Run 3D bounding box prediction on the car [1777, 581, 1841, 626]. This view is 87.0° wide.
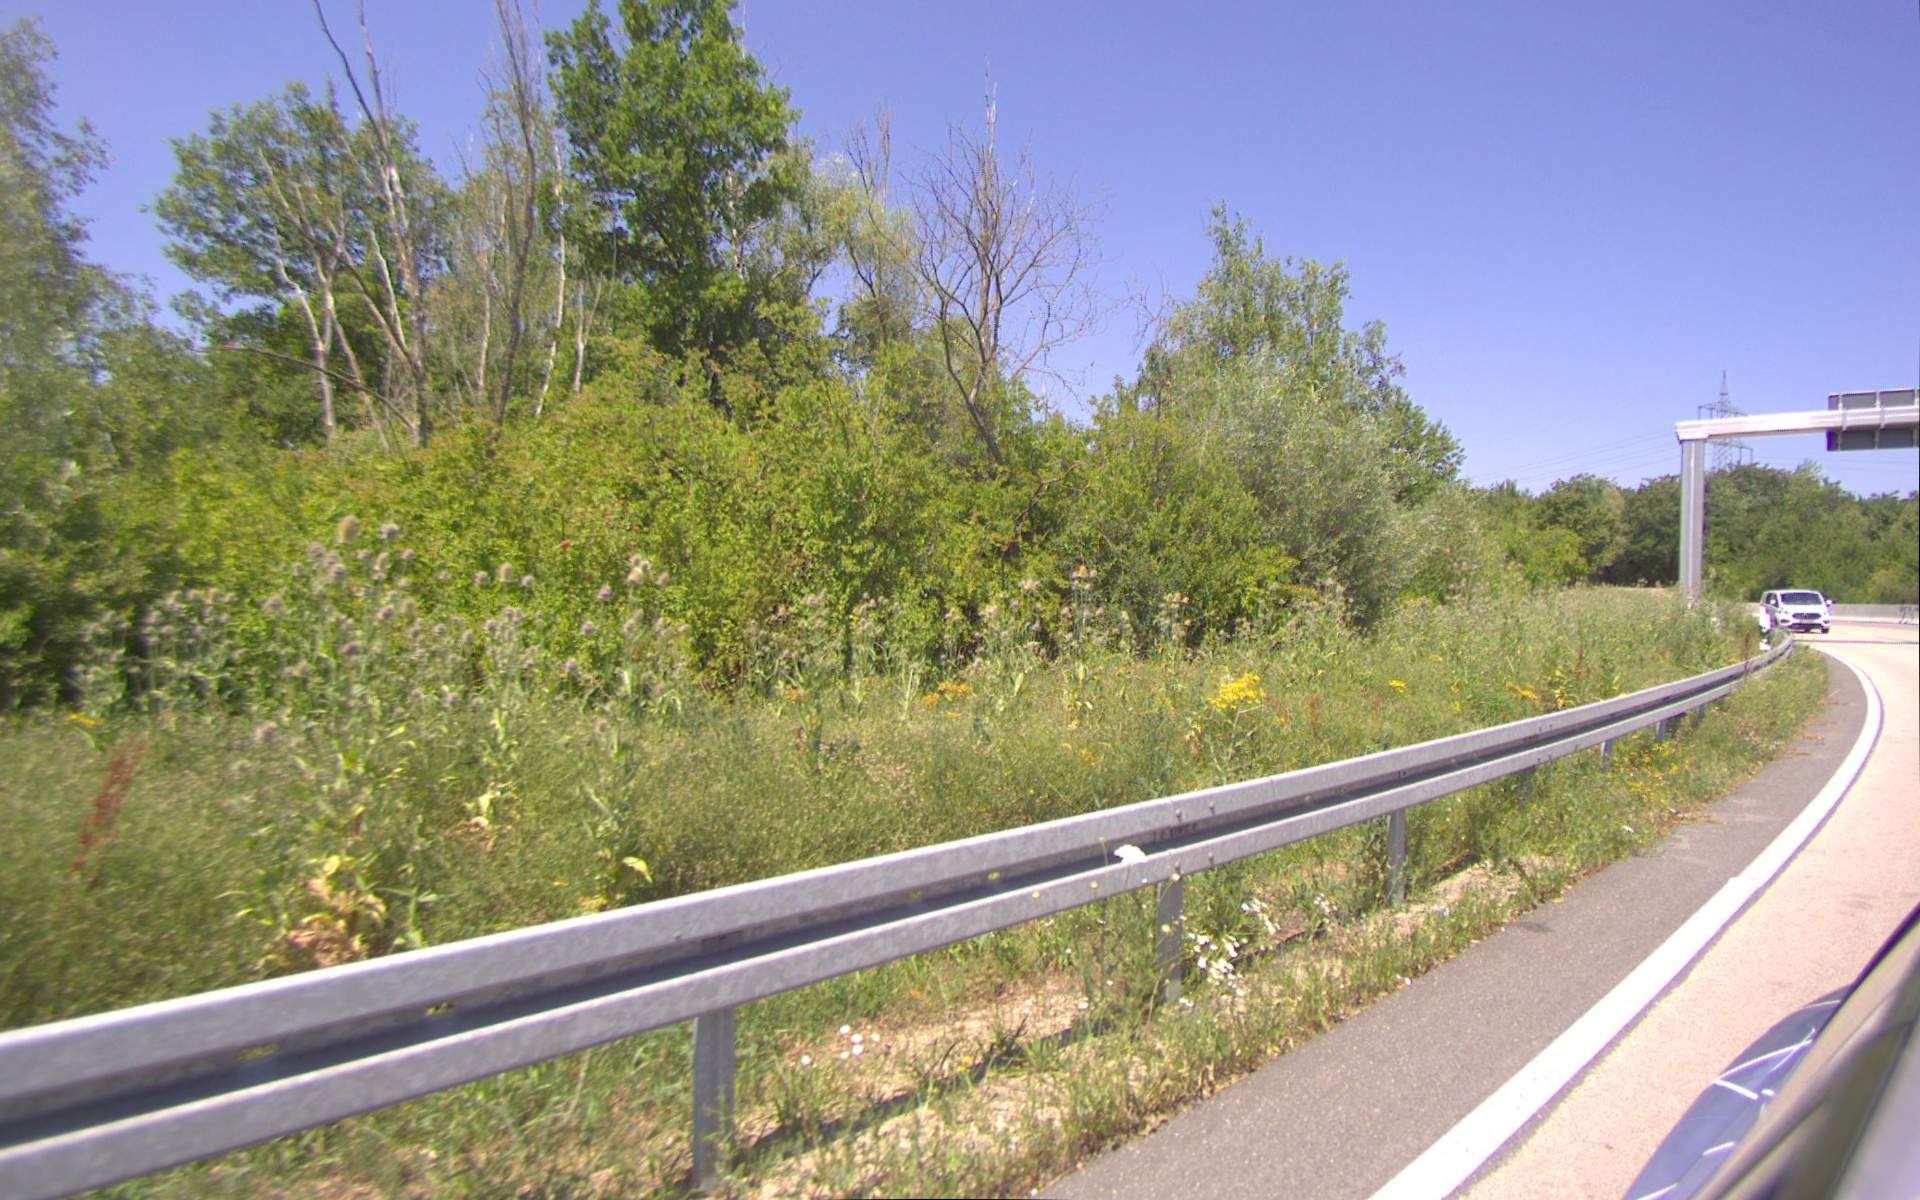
[{"bbox_3d":[40.566,0.152,48.454,2.051,2.039,4.974,0,0,37],"label":"car"}]
